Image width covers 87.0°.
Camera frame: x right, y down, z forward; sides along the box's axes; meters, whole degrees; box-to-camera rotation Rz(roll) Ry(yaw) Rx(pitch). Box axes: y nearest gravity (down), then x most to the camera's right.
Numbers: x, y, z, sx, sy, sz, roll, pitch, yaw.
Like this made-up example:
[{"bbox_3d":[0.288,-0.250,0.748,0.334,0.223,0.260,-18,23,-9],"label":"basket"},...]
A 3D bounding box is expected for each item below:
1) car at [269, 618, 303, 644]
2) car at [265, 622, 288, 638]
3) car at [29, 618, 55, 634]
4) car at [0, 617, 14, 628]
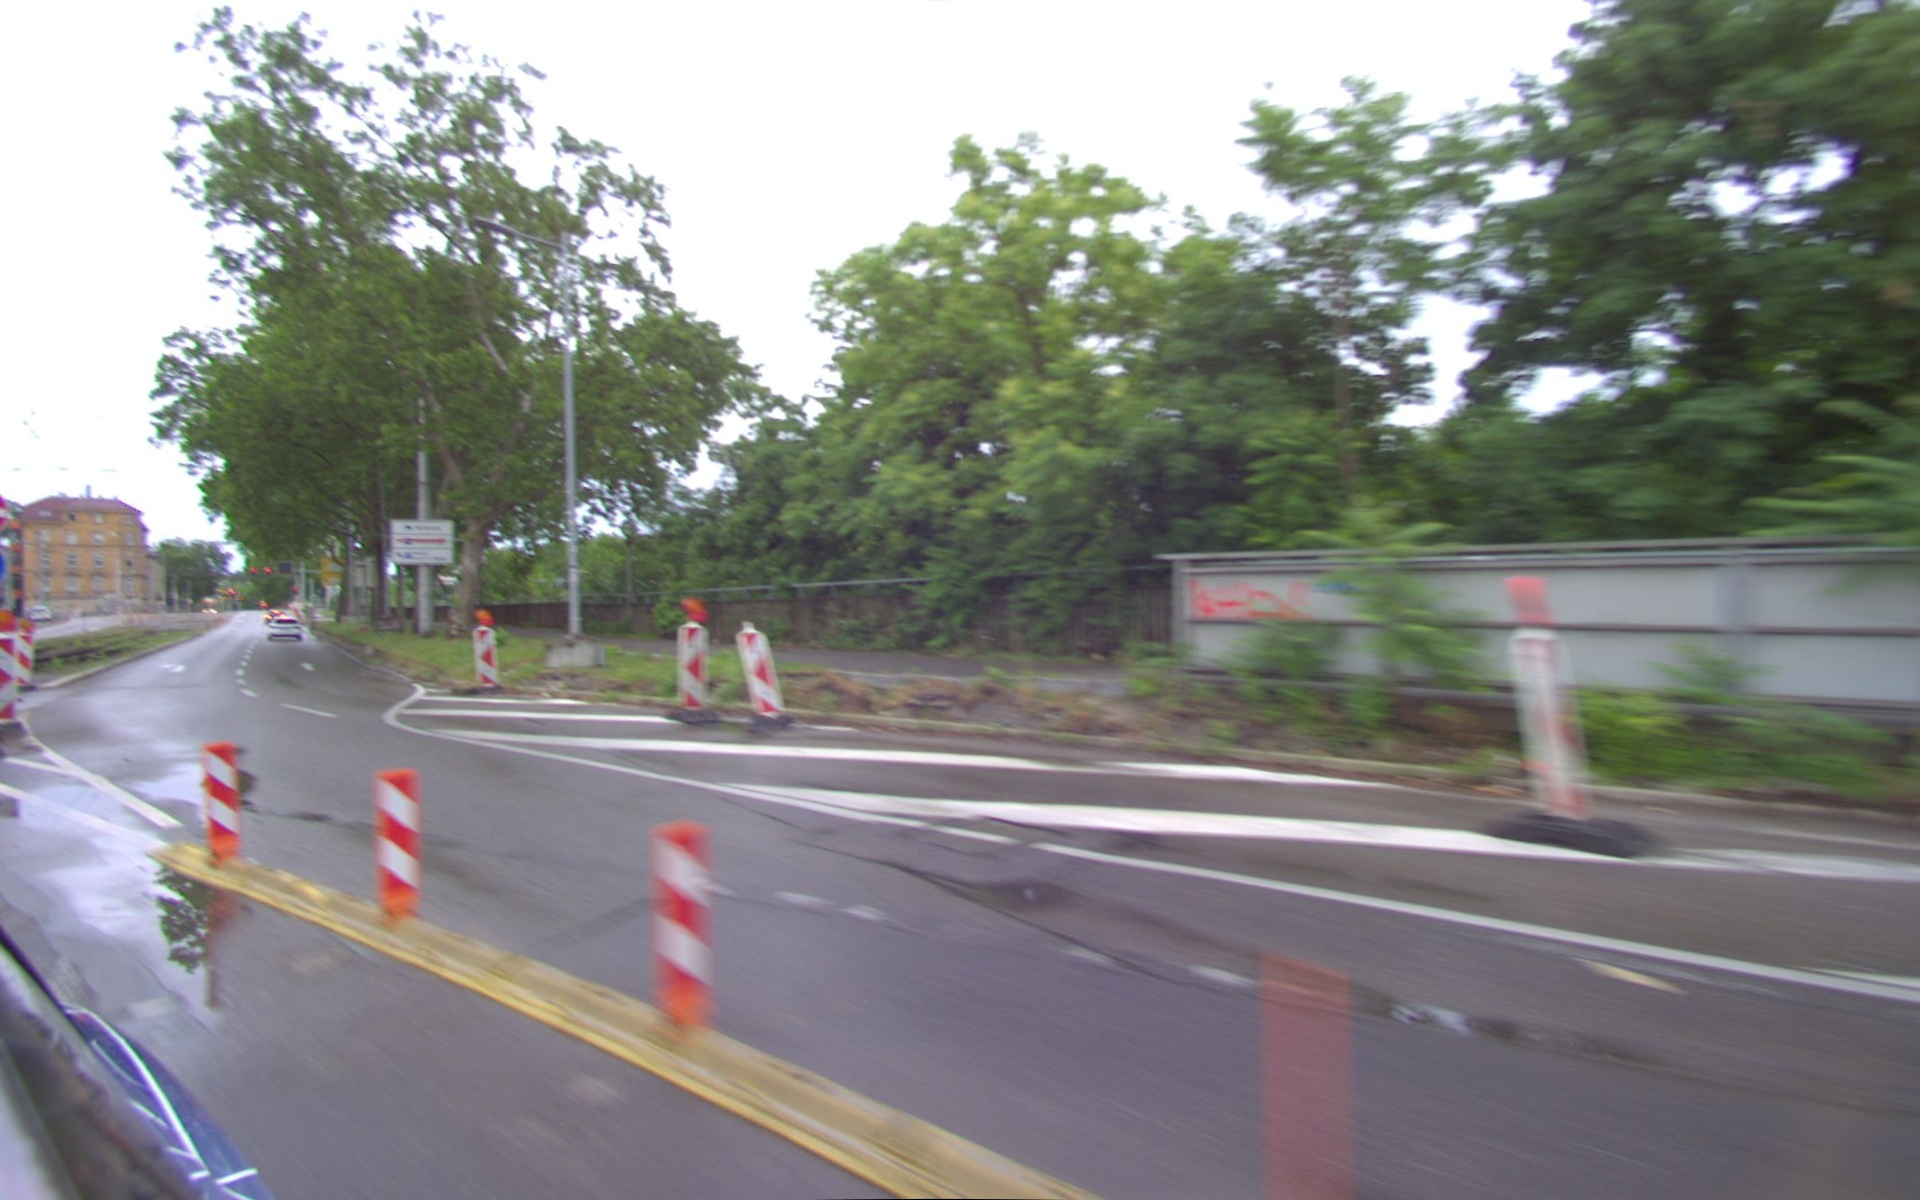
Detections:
[{"bbox_3d":[-41.748,1.867,62.704,1.686,1.510,4.732,1,-1,-34],"label":"car"},{"bbox_3d":[-67.502,2.933,99.943,1.723,1.440,4.571,0,-1,-36],"label":"car"},{"bbox_3d":[-103.991,2.920,114.661,1.816,1.651,4.150,-5,3,-39],"label":"car"},{"bbox_3d":[-155.134,3.679,164.547,1.803,1.594,4.006,-1,1,-41],"label":"car"}]
